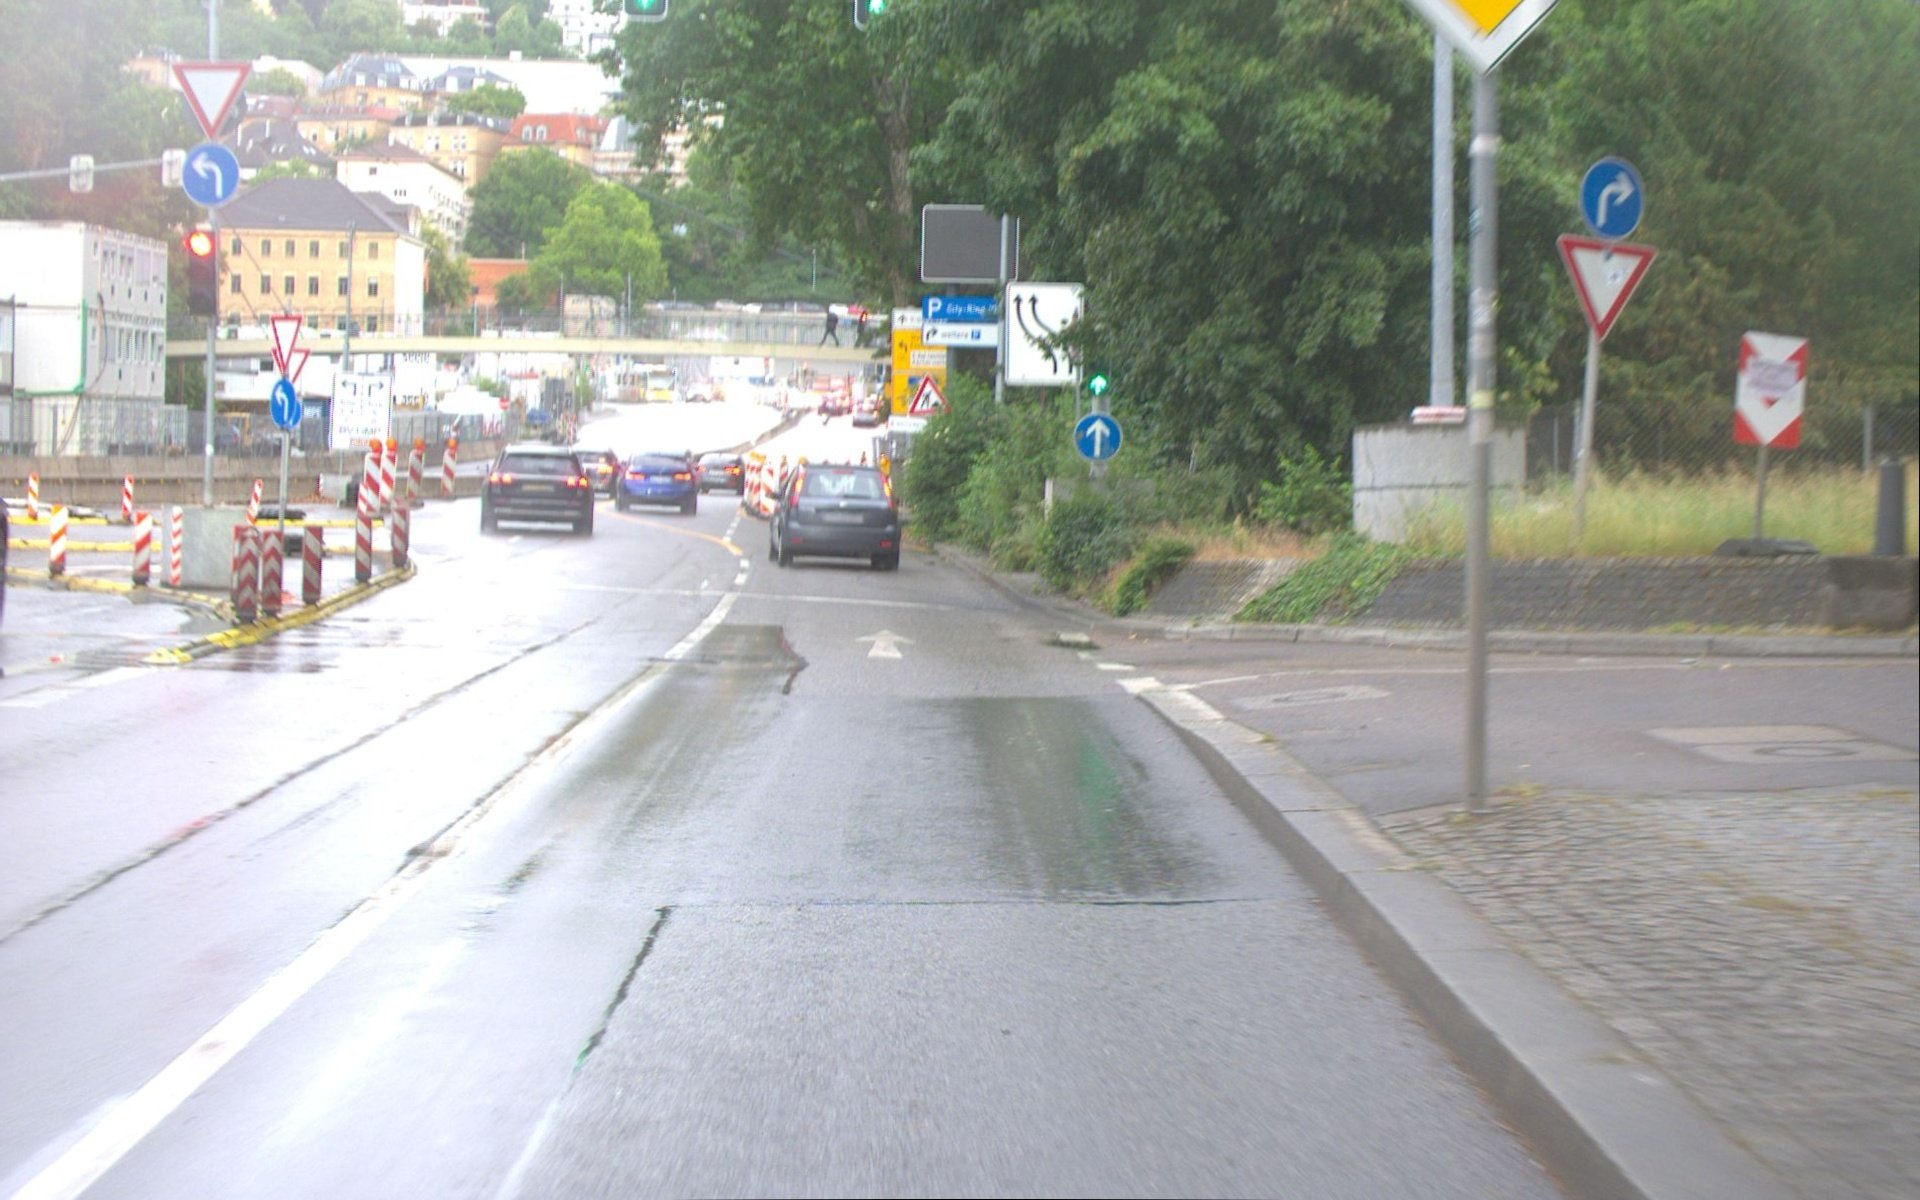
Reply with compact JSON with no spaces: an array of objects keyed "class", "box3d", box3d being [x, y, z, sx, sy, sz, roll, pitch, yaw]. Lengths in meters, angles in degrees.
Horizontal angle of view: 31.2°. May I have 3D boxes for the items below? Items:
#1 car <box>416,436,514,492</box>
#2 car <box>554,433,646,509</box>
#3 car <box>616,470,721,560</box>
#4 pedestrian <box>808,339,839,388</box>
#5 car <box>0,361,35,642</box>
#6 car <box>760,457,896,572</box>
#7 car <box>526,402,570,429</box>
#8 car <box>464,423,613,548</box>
[{"class":"car","box3d":[-26.406,-7.221,183.561,1.996,2.865,6.043,1,2,27]},{"class":"car","box3d":[-10.175,-3.678,97.354,1.994,2.006,4.001,0,4,3]},{"class":"car","box3d":[-6.857,-2.001,81.161,2.105,2.043,4.000,1,1,0]},{"class":"pedestrian","box3d":[-5.853,-10.148,147.703,1.148,2.053,1.059,1,1,8]},{"class":"car","box3d":[-7.318,-0.639,21.216,2.209,1.856,5.075,2,2,-5]},{"class":"car","box3d":[-1.859,-1.200,47.909,1.812,1.521,4.001,0,2,-3]},{"class":"car","box3d":[-25.706,-11.532,214.766,1.994,1.616,4.000,2,4,4]},{"class":"car","box3d":[-7.107,-1.929,58.304,2.016,2.007,4.000,1,1,0]}]
